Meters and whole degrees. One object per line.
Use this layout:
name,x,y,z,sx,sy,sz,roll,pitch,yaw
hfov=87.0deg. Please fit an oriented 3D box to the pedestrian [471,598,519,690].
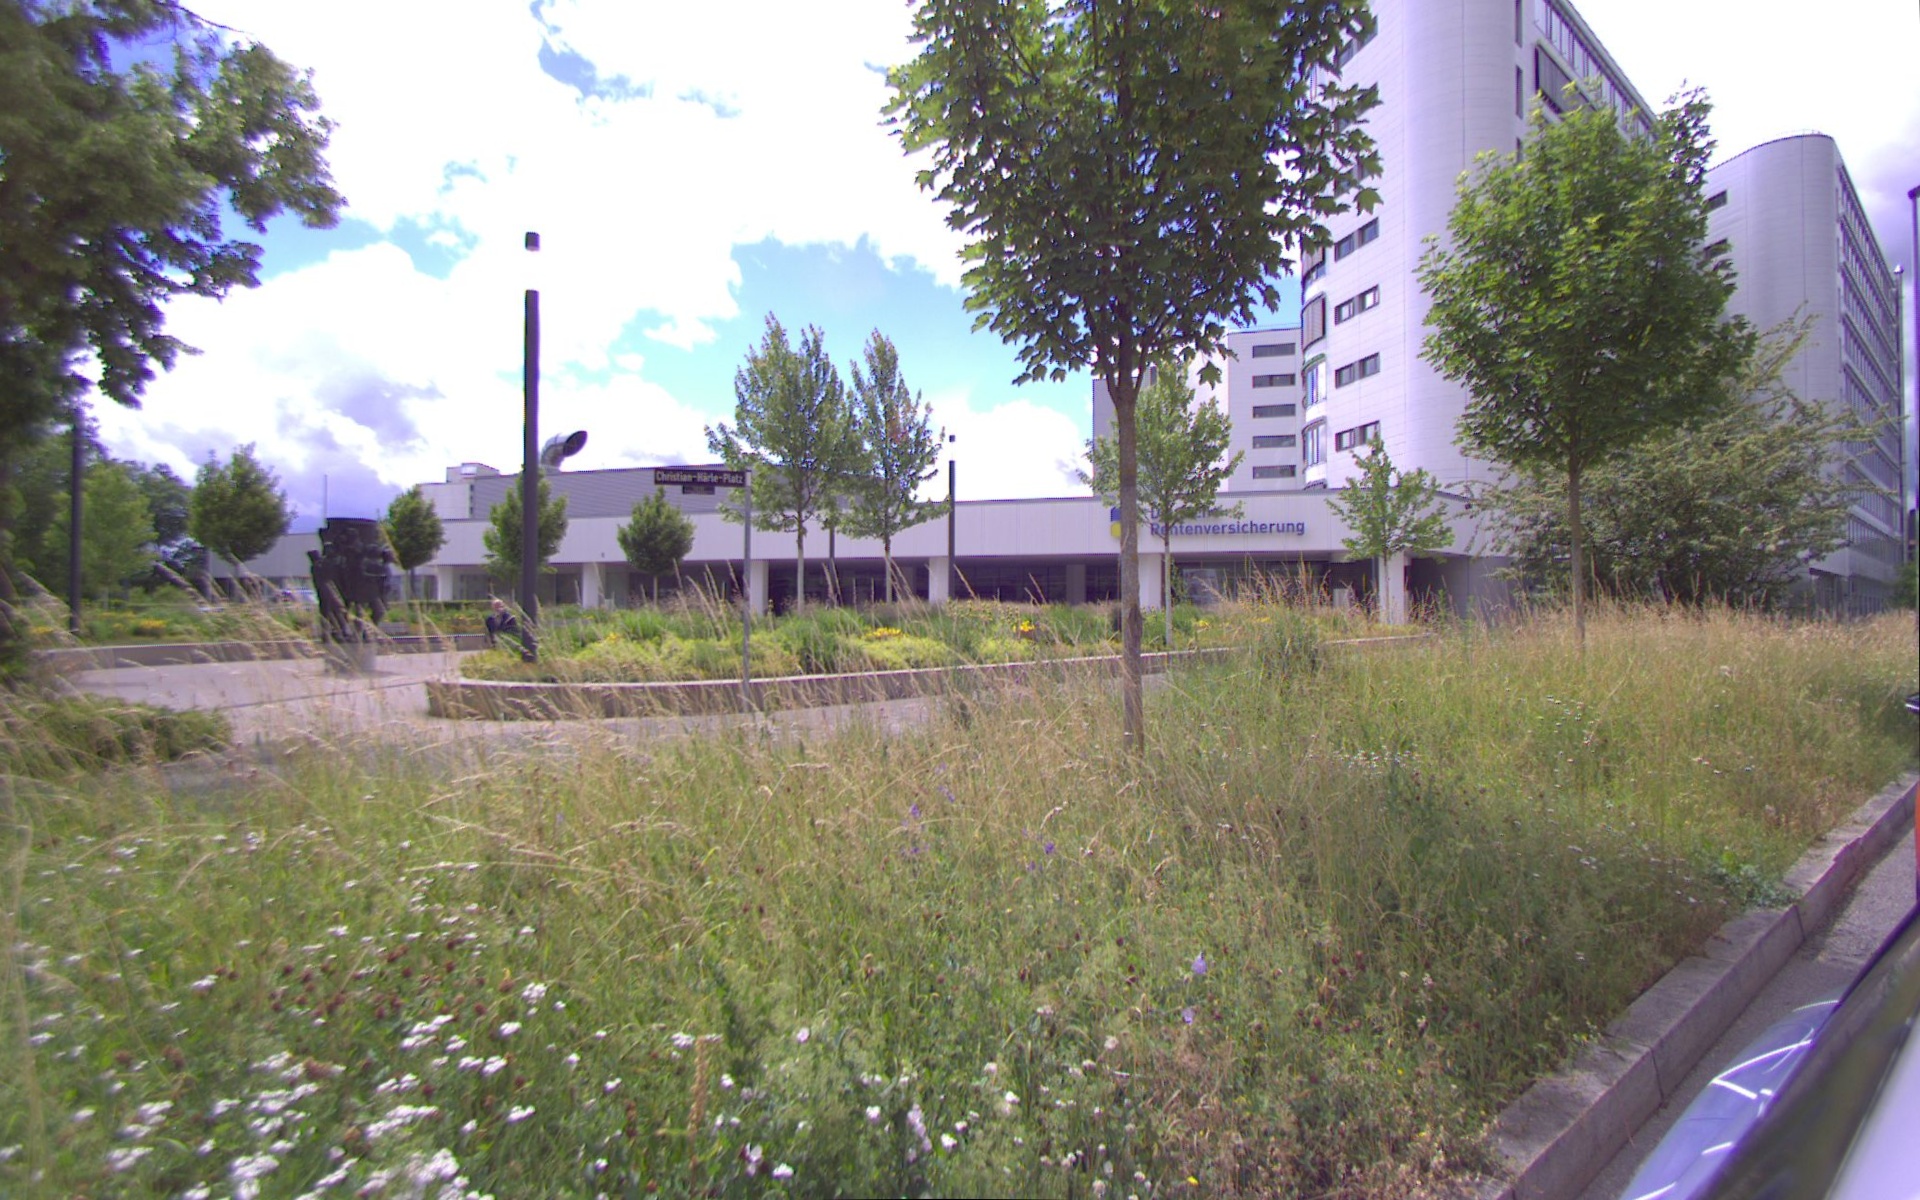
pedestrian,-8.491,0.782,18.518,0.748,1.646,0.774,1,0,-22

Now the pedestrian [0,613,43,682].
pedestrian,-17.405,0.858,18.684,0.621,1.238,0.620,1,0,-36

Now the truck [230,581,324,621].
truck,-36.137,0.058,53.572,3.941,2.039,1.991,1,0,14

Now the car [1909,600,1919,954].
car,5.813,0.749,4.634,3.611,1.434,1.748,0,1,-41
